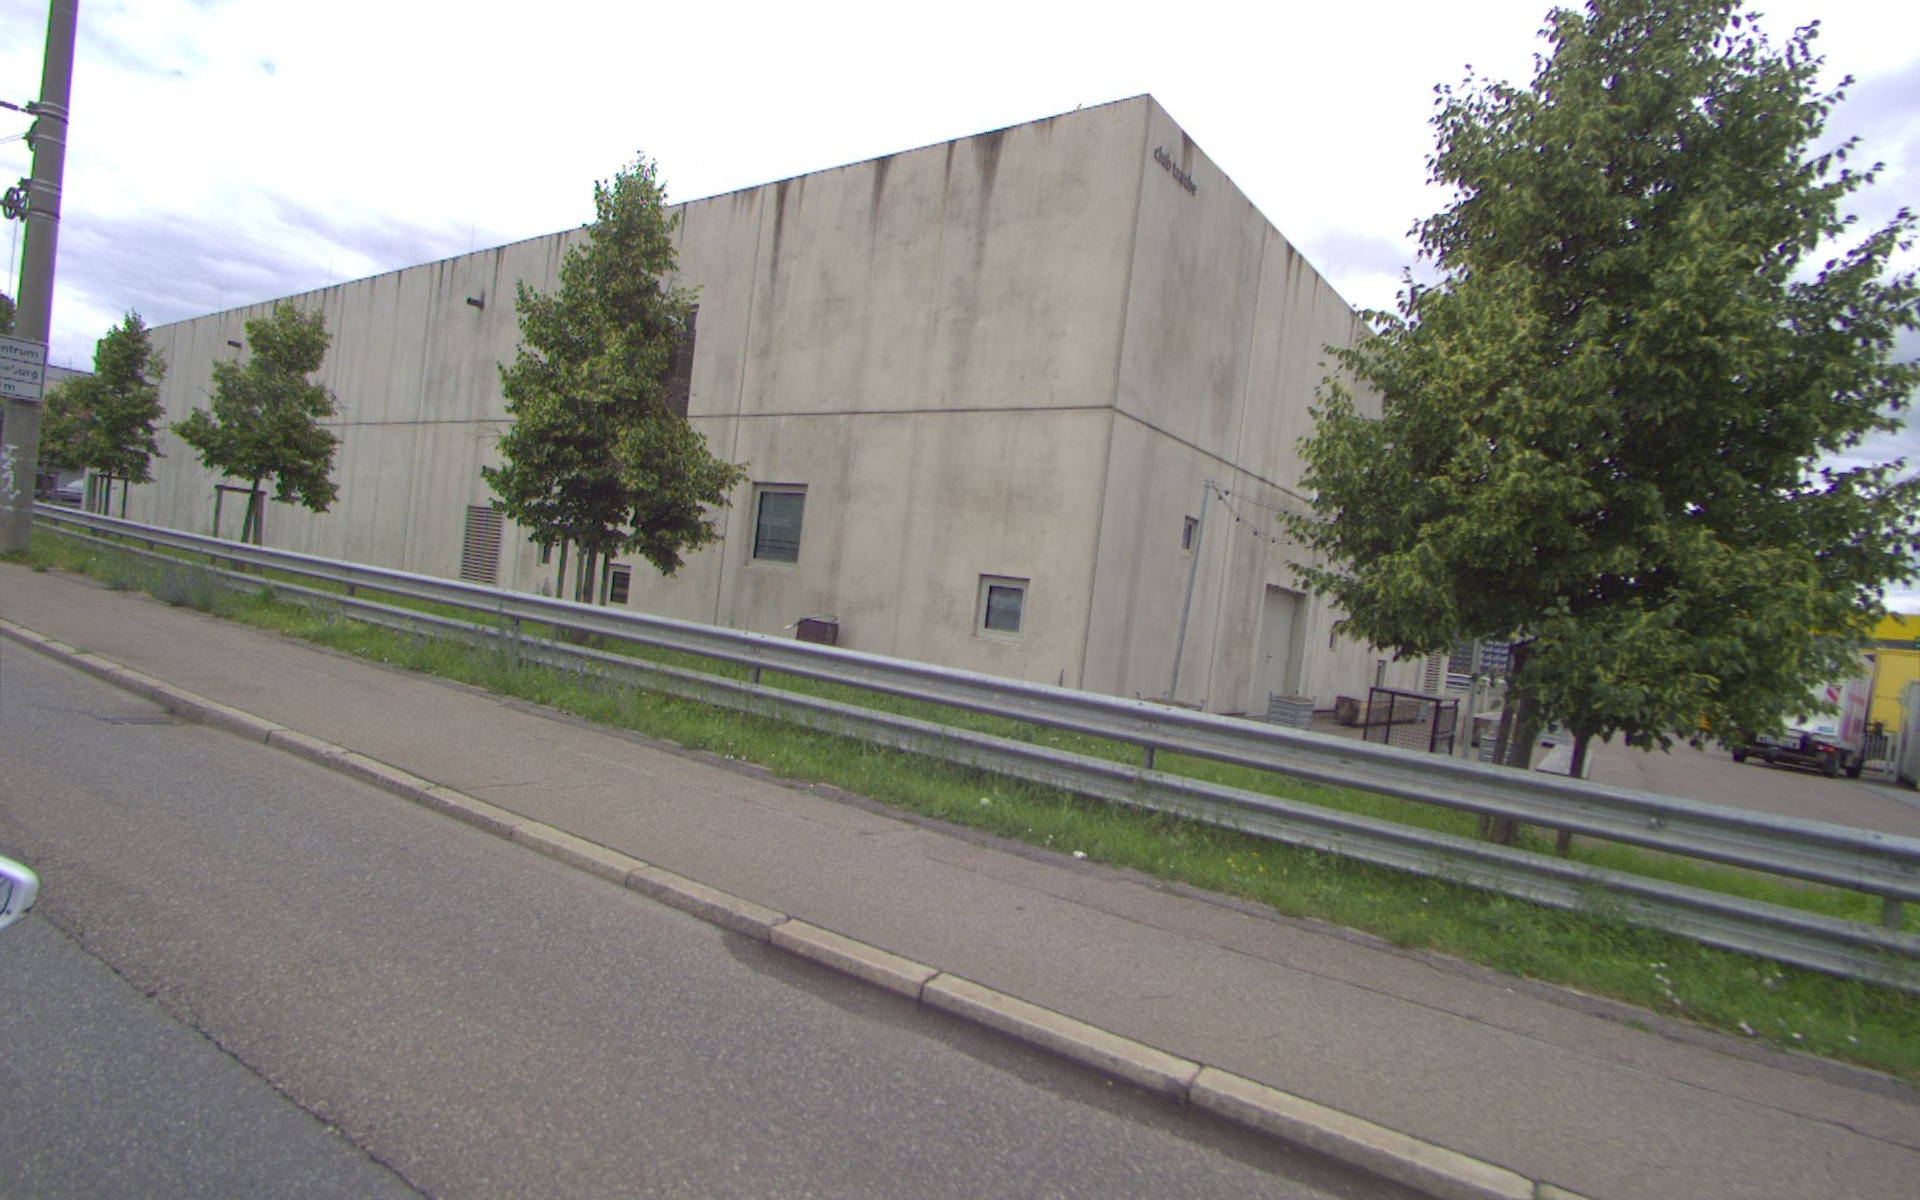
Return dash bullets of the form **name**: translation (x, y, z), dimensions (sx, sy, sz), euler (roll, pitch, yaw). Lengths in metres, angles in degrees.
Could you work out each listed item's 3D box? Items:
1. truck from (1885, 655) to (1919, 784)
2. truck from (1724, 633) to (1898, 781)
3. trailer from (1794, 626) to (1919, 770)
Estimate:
- **truck**: translation (25.867, 3.339, 25.747), dimensions (2.586, 3.071, 7.745), euler (6, -3, 40)
- **truck**: translation (22.466, 2.933, 26.374), dimensions (7.726, 3.071, 2.323), euler (10, -3, -42)
- **trailer**: translation (31.074, 3.394, 29.094), dimensions (2.889, 4.013, 9.935), euler (7, 1, -32)
